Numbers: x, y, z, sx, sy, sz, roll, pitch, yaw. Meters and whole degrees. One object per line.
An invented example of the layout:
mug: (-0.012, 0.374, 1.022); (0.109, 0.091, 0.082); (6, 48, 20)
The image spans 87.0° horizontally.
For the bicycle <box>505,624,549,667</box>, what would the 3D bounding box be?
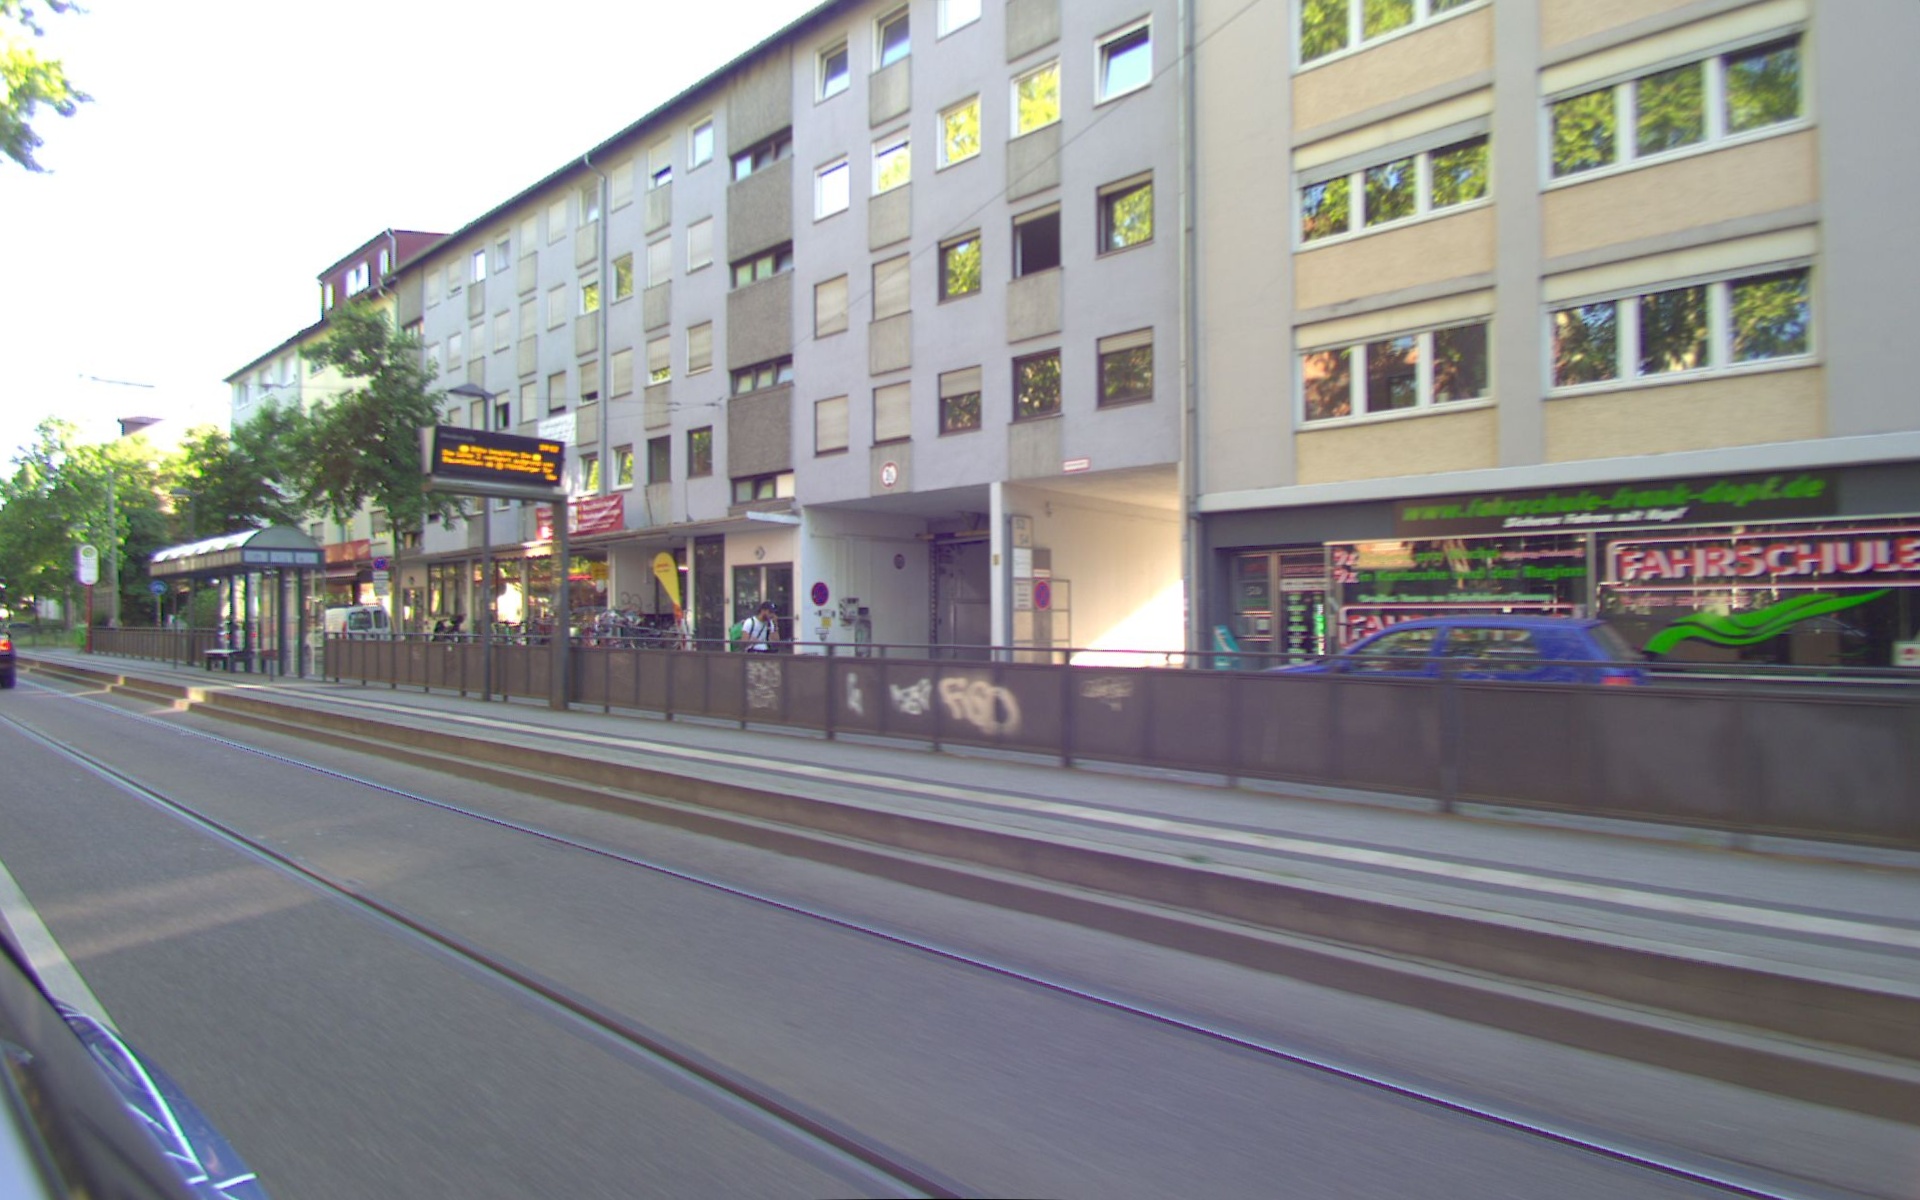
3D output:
bicycle: (-12.070, 1.262, 28.193); (1.688, 1.165, 0.506); (-2, -2, 44)

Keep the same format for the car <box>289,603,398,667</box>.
car: (-20.033, 1.113, 32.835); (4.046, 1.949, 1.785); (-1, -2, 40)

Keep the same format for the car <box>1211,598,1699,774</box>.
car: (4.999, 0.785, 10.603); (4.280, 1.475, 1.776); (-1, -2, 41)

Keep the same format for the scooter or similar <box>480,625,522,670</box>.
scooter or similar: (-12.284, 1.250, 27.089); (1.272, 1.183, 0.440); (-1, -2, 36)

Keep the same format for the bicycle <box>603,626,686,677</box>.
bicycle: (-7.359, 1.185, 23.580); (2.019, 1.165, 0.556); (-1, -2, 26)

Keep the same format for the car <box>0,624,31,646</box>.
car: (-69.694, 2.537, 74.260); (3.679, 1.541, 1.971); (-2, -2, 44)

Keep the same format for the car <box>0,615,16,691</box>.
car: (-22.416, 1.155, 22.388); (3.996, 1.601, 1.744); (-1, -2, 40)

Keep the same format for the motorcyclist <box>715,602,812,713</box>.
motorcyclist: (-2.704, 0.769, 13.931); (1.015, 1.451, 0.864); (-1, -2, 40)

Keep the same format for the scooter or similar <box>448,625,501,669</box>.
scooter or similar: (-13.363, 1.283, 27.854); (1.259, 1.183, 0.445); (0, -2, 5)

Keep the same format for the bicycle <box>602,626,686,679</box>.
bicycle: (-7.238, 1.184, 23.152); (2.019, 1.165, 0.556); (-1, -2, 26)

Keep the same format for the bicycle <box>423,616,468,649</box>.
bicycle: (-18.551, 1.150, 36.448); (2.033, 1.165, 0.565); (-1, -2, 36)

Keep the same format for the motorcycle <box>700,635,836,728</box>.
motorcycle: (-2.655, 1.076, 13.898); (1.914, 1.173, 0.840); (-1, -2, 41)

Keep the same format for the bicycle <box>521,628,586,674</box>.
bicycle: (-10.519, 1.298, 26.162); (2.033, 1.165, 0.565); (-1, -2, 36)

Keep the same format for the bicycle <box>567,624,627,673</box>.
bicycle: (-8.979, 1.178, 24.998); (1.748, 1.165, 0.488); (-1, -2, 36)
